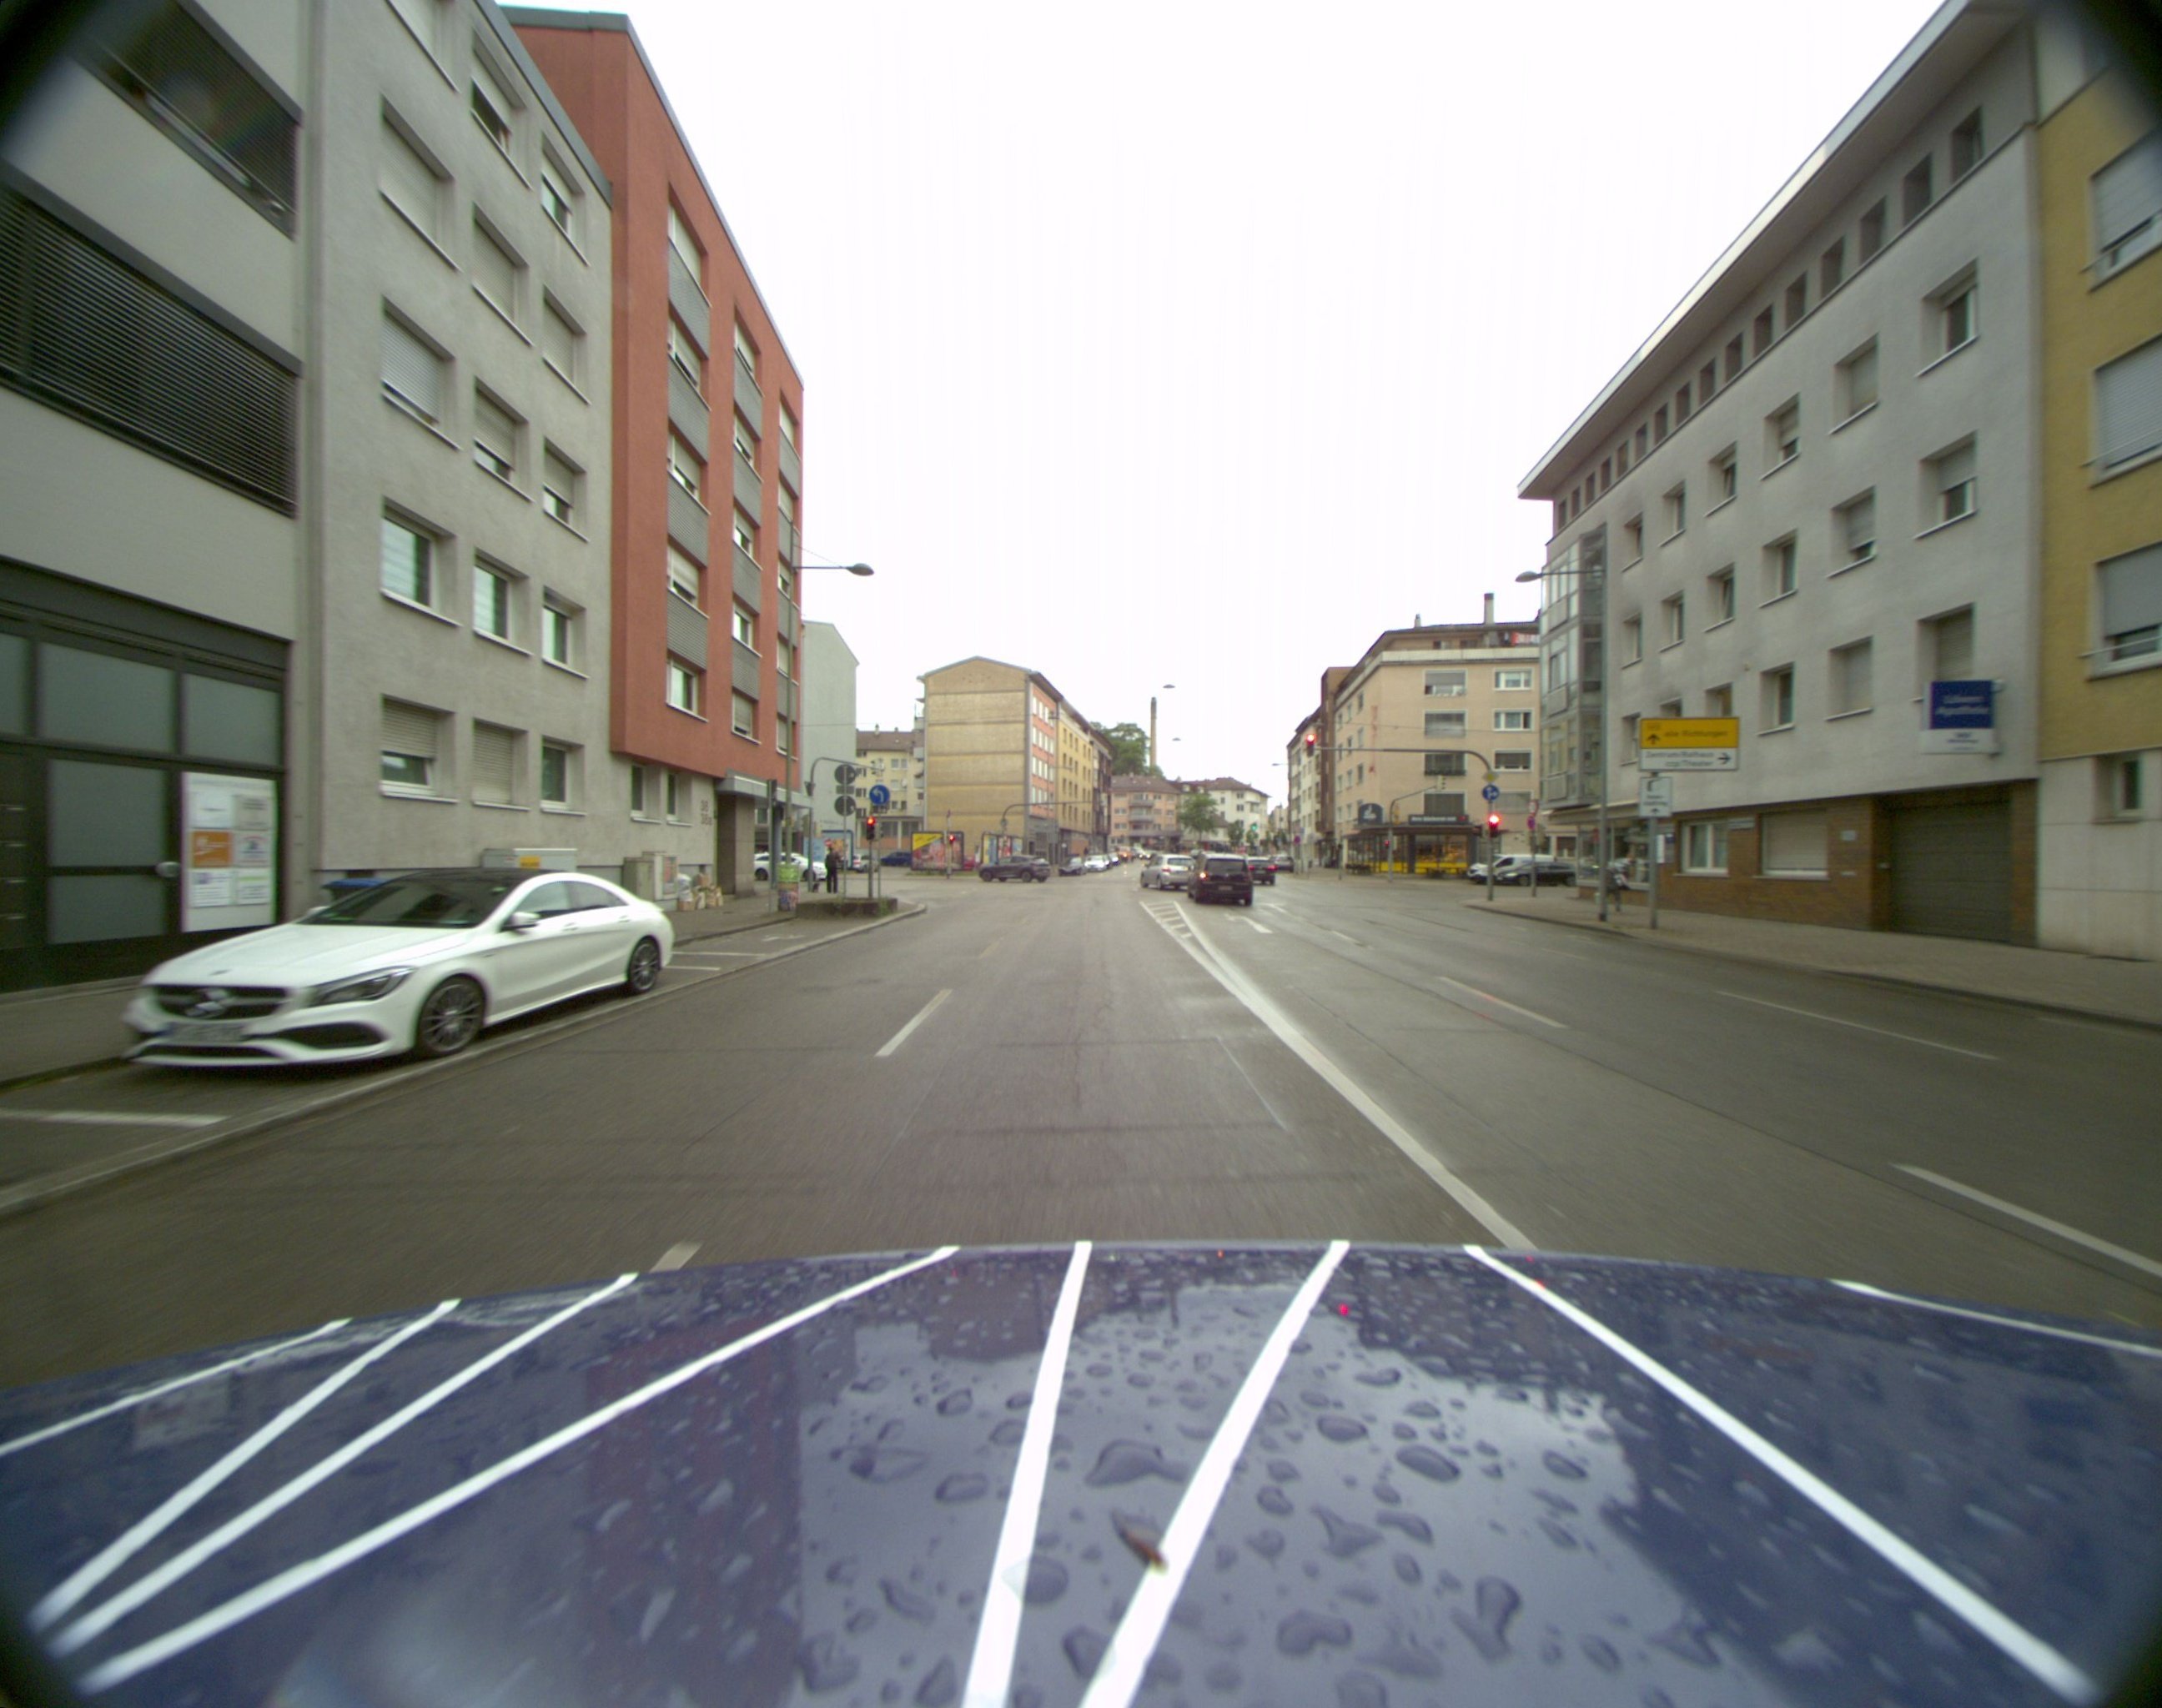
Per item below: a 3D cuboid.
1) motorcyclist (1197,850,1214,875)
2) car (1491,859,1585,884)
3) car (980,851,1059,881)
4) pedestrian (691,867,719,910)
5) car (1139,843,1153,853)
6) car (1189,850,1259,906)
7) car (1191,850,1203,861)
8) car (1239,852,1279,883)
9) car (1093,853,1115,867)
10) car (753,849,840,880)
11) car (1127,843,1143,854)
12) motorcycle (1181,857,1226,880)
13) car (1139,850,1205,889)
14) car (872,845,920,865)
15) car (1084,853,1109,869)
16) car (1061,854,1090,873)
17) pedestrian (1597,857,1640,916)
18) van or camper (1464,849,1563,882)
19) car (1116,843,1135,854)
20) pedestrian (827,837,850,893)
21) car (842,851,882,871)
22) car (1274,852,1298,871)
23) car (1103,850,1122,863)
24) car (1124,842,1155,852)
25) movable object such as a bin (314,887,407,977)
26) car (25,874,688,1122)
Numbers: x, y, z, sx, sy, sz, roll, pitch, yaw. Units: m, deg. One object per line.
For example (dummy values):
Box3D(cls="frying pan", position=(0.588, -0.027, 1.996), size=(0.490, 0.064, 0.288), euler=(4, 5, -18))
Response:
Box3D(cls="motorcyclist", position=(6.473, 0.431, 39.612), size=(0.871, 1.320, 0.493), euler=(0, 1, 9))
Box3D(cls="car", position=(25.278, 0.944, 42.129), size=(4.094, 1.282, 1.842), euler=(0, 0, 3))
Box3D(cls="car", position=(-3.433, 0.645, 42.506), size=(3.989, 1.612, 1.840), euler=(0, 1, 26))
Box3D(cls="pedestrian", position=(-9.946, 0.902, 20.097), size=(0.537, 1.124, 0.481), euler=(0, 1, -6))
Box3D(cls="car", position=(9.323, -0.805, 108.675), size=(1.736, 1.389, 3.744), euler=(0, 0, 8))
Box3D(cls="car", position=(4.640, 0.720, 25.189), size=(1.877, 1.674, 4.001), euler=(0, 0, 5))
Box3D(cls="car", position=(19.146, 0.285, 125.049), size=(1.669, 1.761, 4.004), euler=(1, 0, 12))
Box3D(cls="car", position=(9.598, 0.689, 41.225), size=(1.747, 1.586, 4.002), euler=(0, 0, 8))
Box3D(cls="car", position=(2.257, 0.572, 75.005), size=(1.736, 1.389, 3.744), euler=(0, 0, 9))
Box3D(cls="car", position=(-15.259, 0.538, 40.896), size=(3.995, 1.612, 1.837), euler=(0, 0, 5))
Box3D(cls="car", position=(7.154, -0.753, 100.134), size=(1.736, 1.389, 3.744), euler=(0, 0, 9))
Box3D(cls="motorcycle", position=(6.406, 0.763, 39.570), size=(2.290, 1.157, 0.775), euler=(0, 1, 11))
Box3D(cls="car", position=(3.874, 0.633, 33.034), size=(1.837, 1.612, 3.996), euler=(0, 0, -9))
Box3D(cls="car", position=(-16.560, 0.071, 68.068), size=(3.783, 1.701, 1.842), euler=(0, 1, 20))
Box3D(cls="car", position=(1.399, 0.621, 67.182), size=(1.736, 1.389, 3.744), euler=(0, 0, 9))
Box3D(cls="car", position=(-0.405, 0.724, 59.892), size=(1.736, 1.389, 3.744), euler=(0, 0, 9))
Box3D(cls="pedestrian", position=(14.764, 0.886, 20.877), size=(0.784, 1.578, 0.674), euler=(-2, 0, 22))
Box3D(cls="van or camper", position=(27.318, 0.709, 48.171), size=(5.023, 2.002, 2.000), euler=(0, 2, 7))
Box3D(cls="car", position=(5.647, -0.669, 95.257), size=(1.736, 1.389, 3.745), euler=(0, 0, 14))
Box3D(cls="pedestrian", position=(-9.538, 0.426, 29.890), size=(0.806, 2.140, 0.737), euler=(0, 1, -23))
Box3D(cls="car", position=(-16.711, 0.493, 58.141), size=(1.737, 1.448, 3.742), euler=(0, 0, 5))
Box3D(cls="car", position=(18.231, 0.632, 67.703), size=(1.833, 1.612, 4.003), euler=(0, 0, 11))
Box3D(cls="car", position=(3.551, 0.225, 84.541), size=(1.736, 1.389, 3.743), euler=(0, 0, 8))
Box3D(cls="car", position=(9.179, -1.067, 118.828), size=(2.038, 1.522, 4.894), euler=(0, 0, -39))
Box3D(cls="movable object such as a bin", position=(-9.130, 0.976, 9.650), size=(0.681, 1.097, 0.514), euler=(0, 1, -1))
Box3D(cls="car", position=(-5.778, 0.976, 7.106), size=(1.835, 1.412, 4.569), euler=(1, 0, -1))
